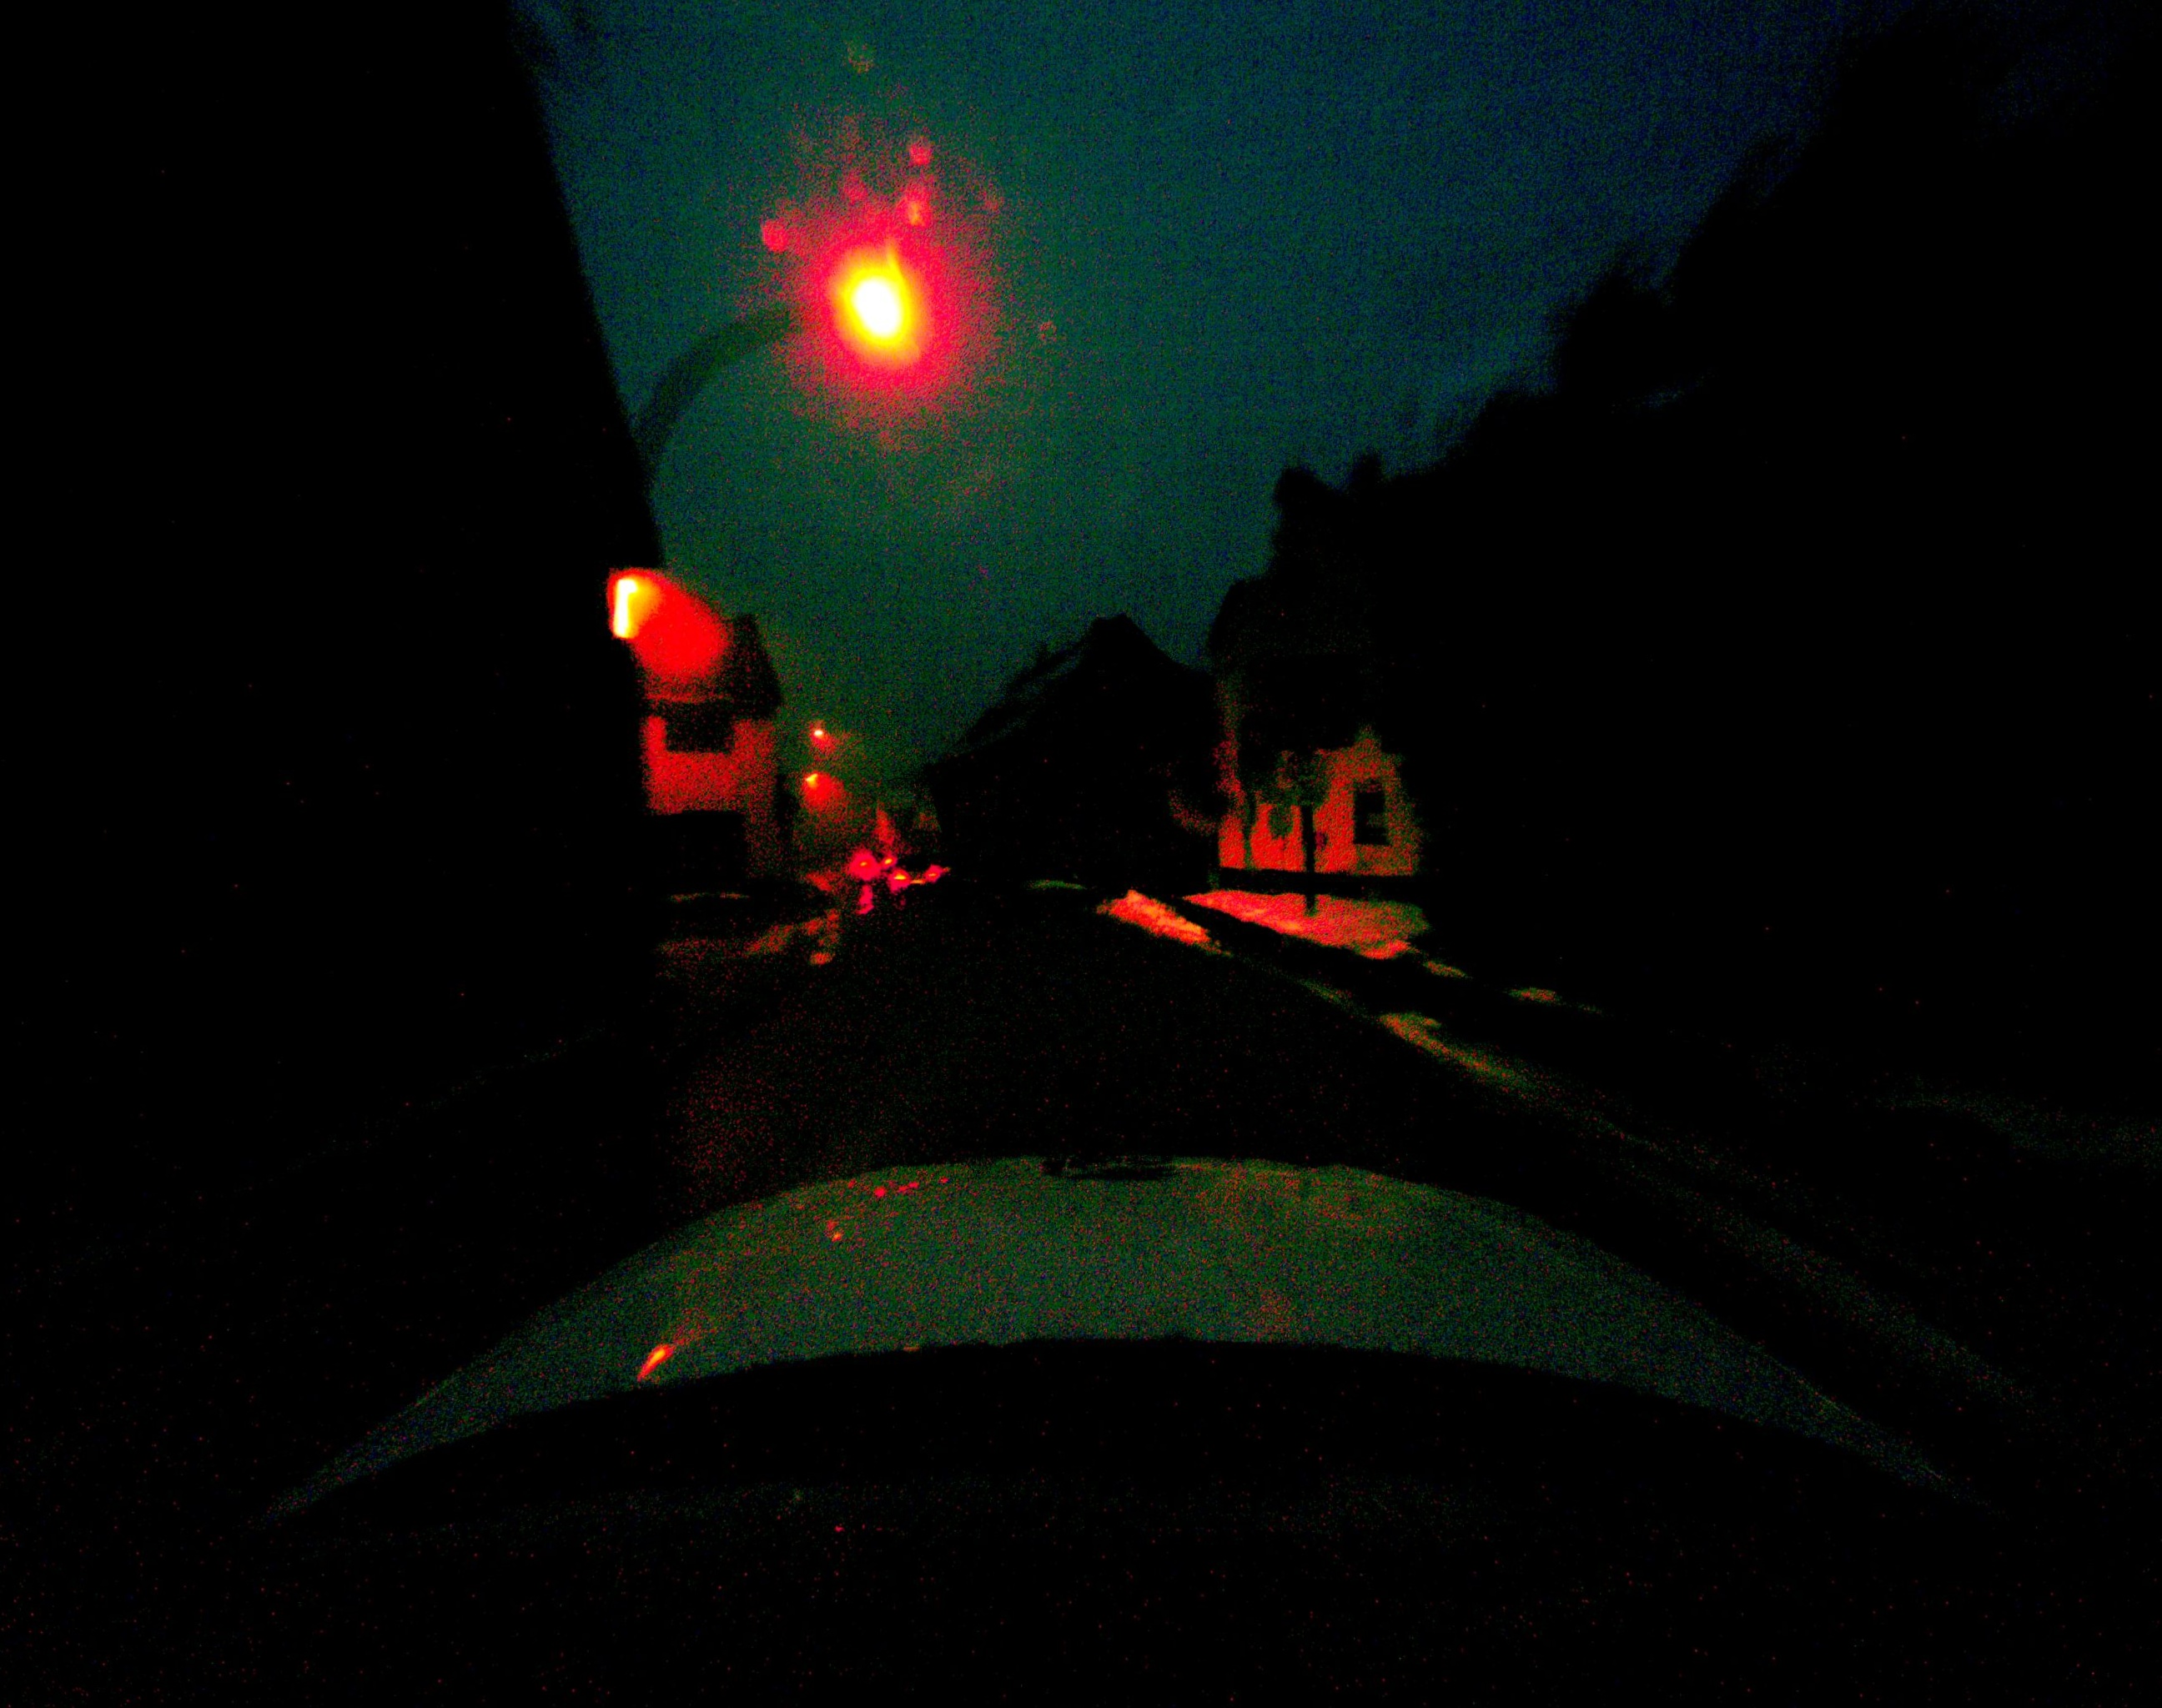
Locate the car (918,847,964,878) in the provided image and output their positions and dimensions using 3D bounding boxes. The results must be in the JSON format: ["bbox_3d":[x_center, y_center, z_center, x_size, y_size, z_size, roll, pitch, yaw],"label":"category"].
[{"bbox_3d":[-7.256,0.445,41.935,1.722,1.500,3.881,0,-1,-19],"label":"car"}]

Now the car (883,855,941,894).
[{"bbox_3d":[-7.092,0.823,33.899,1.999,1.508,3.975,0,-1,-18],"label":"car"}]

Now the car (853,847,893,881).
[{"bbox_3d":[-11.303,0.531,44.129,1.997,1.728,3.979,0,-1,-15],"label":"car"}]
